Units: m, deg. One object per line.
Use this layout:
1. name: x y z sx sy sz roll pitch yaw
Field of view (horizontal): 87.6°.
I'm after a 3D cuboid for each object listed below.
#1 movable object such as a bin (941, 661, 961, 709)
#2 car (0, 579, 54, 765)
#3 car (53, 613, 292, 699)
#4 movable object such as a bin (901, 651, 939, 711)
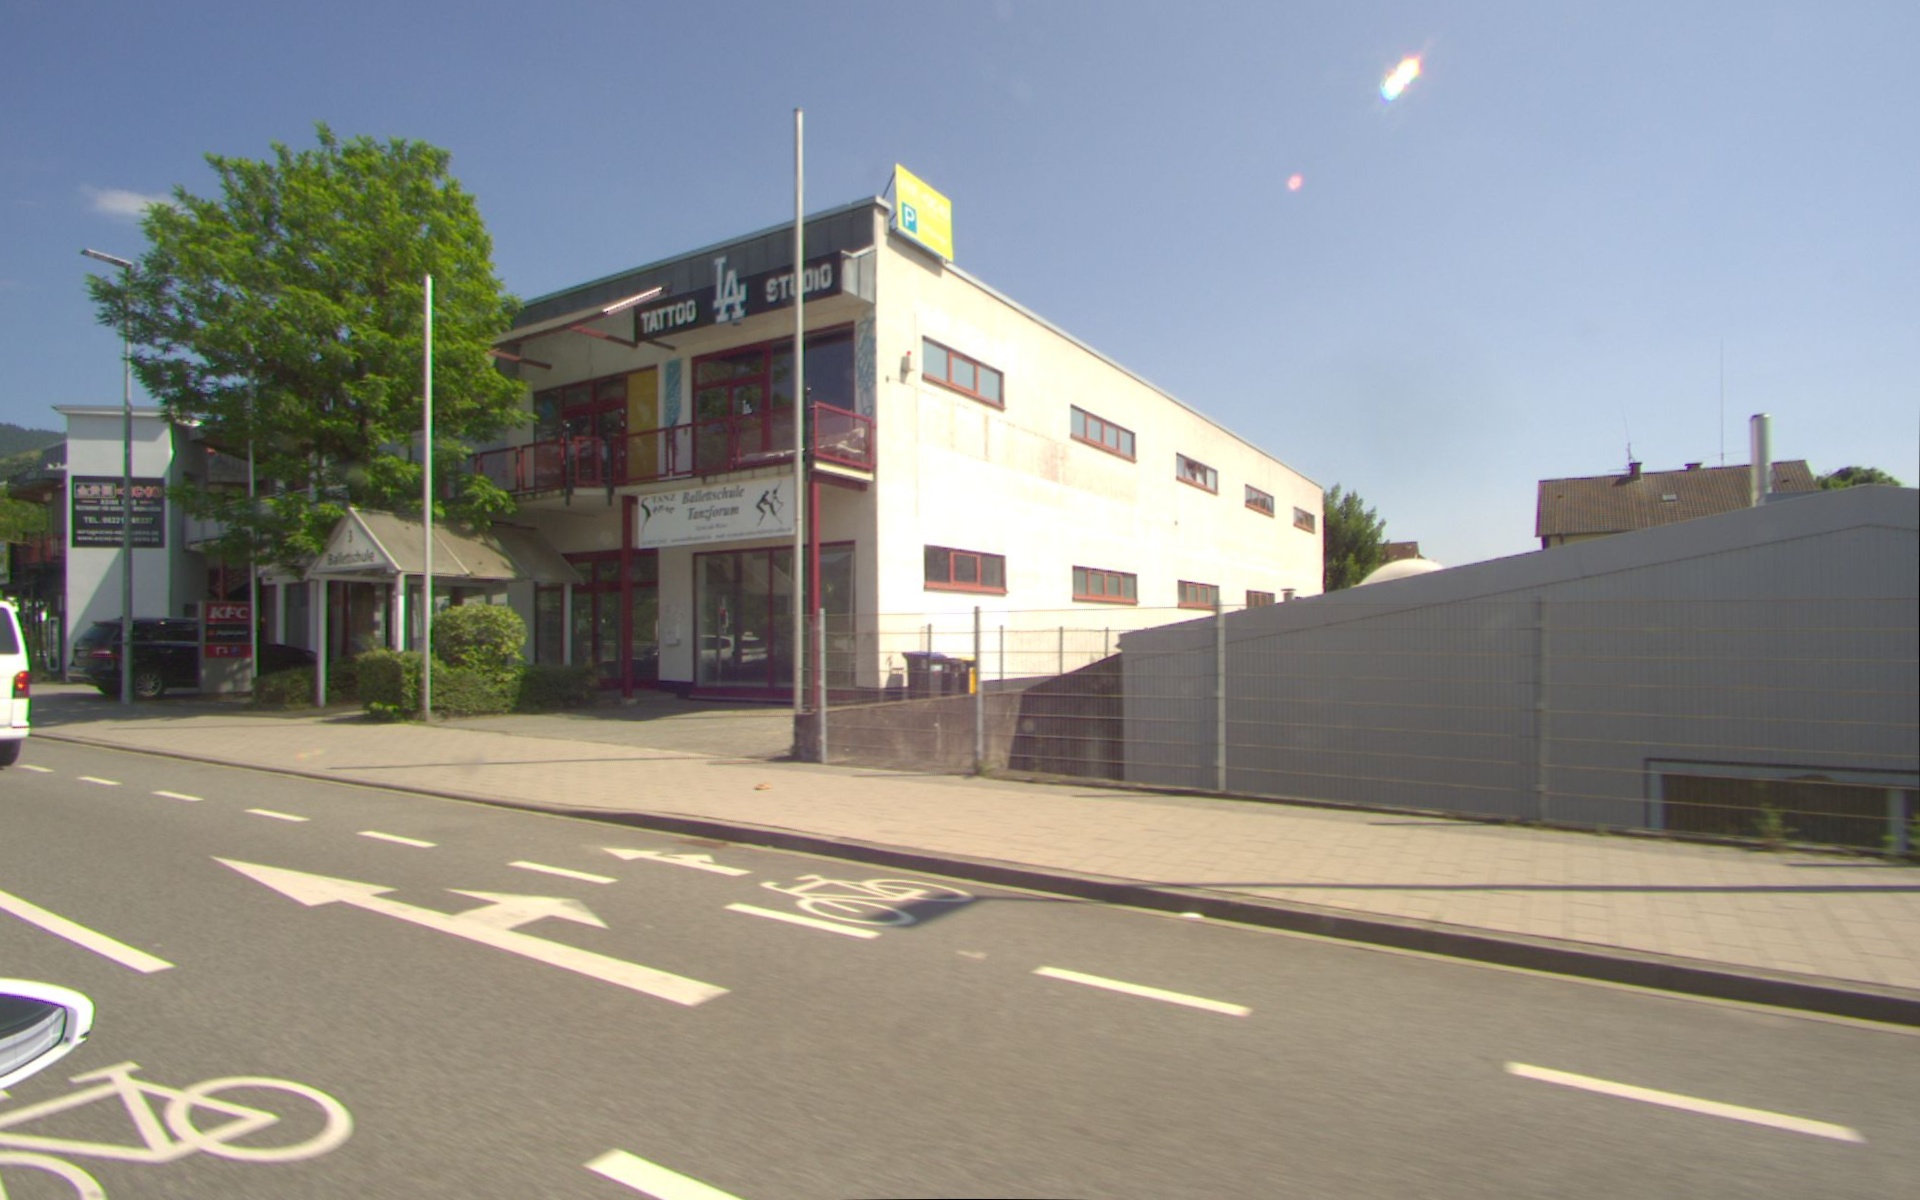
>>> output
1. movable object such as a bin: -0.163 1.577 18.677 0.271 0.865 0.266 0 0 34
2. car: -12.940 0.792 11.947 4.478 2.085 1.932 0 -2 31
3. car: -17.921 1.219 22.941 1.975 1.798 3.972 0 -1 38
4. movable object such as a bin: -0.717 1.440 17.946 0.537 1.025 0.411 0 -1 34
